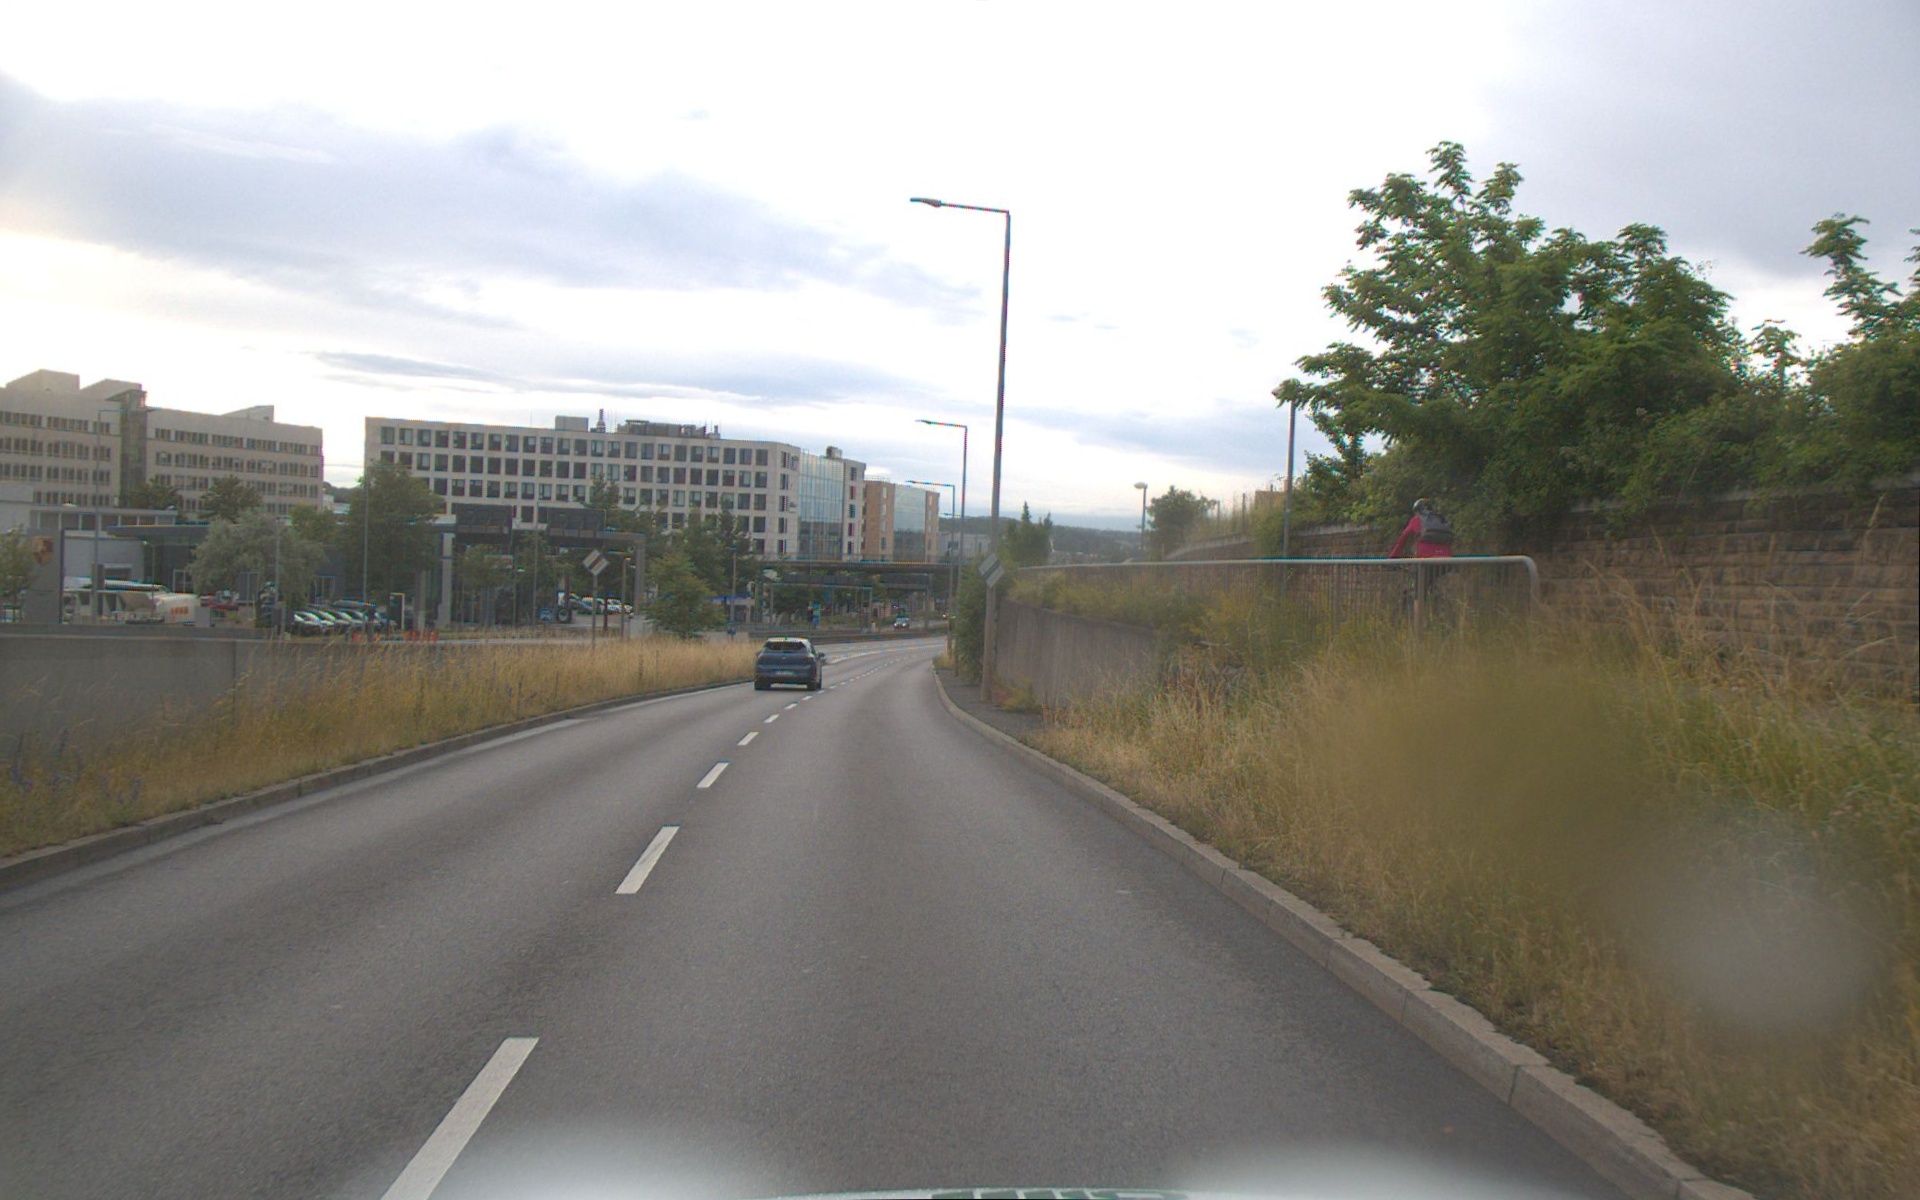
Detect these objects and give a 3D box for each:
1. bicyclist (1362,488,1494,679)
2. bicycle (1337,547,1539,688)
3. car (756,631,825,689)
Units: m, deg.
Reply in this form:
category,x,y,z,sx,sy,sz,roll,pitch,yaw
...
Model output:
category,x,y,z,sx,sy,sz,roll,pitch,yaw
bicyclist,5.065,-0.184,17.977,0.852,1.941,1.293,4,1,-4
bicycle,5.058,0.115,17.875,0.852,1.310,3.484,4,2,-4
car,-4.828,1.701,47.384,1.713,1.445,3.477,1,1,-2
